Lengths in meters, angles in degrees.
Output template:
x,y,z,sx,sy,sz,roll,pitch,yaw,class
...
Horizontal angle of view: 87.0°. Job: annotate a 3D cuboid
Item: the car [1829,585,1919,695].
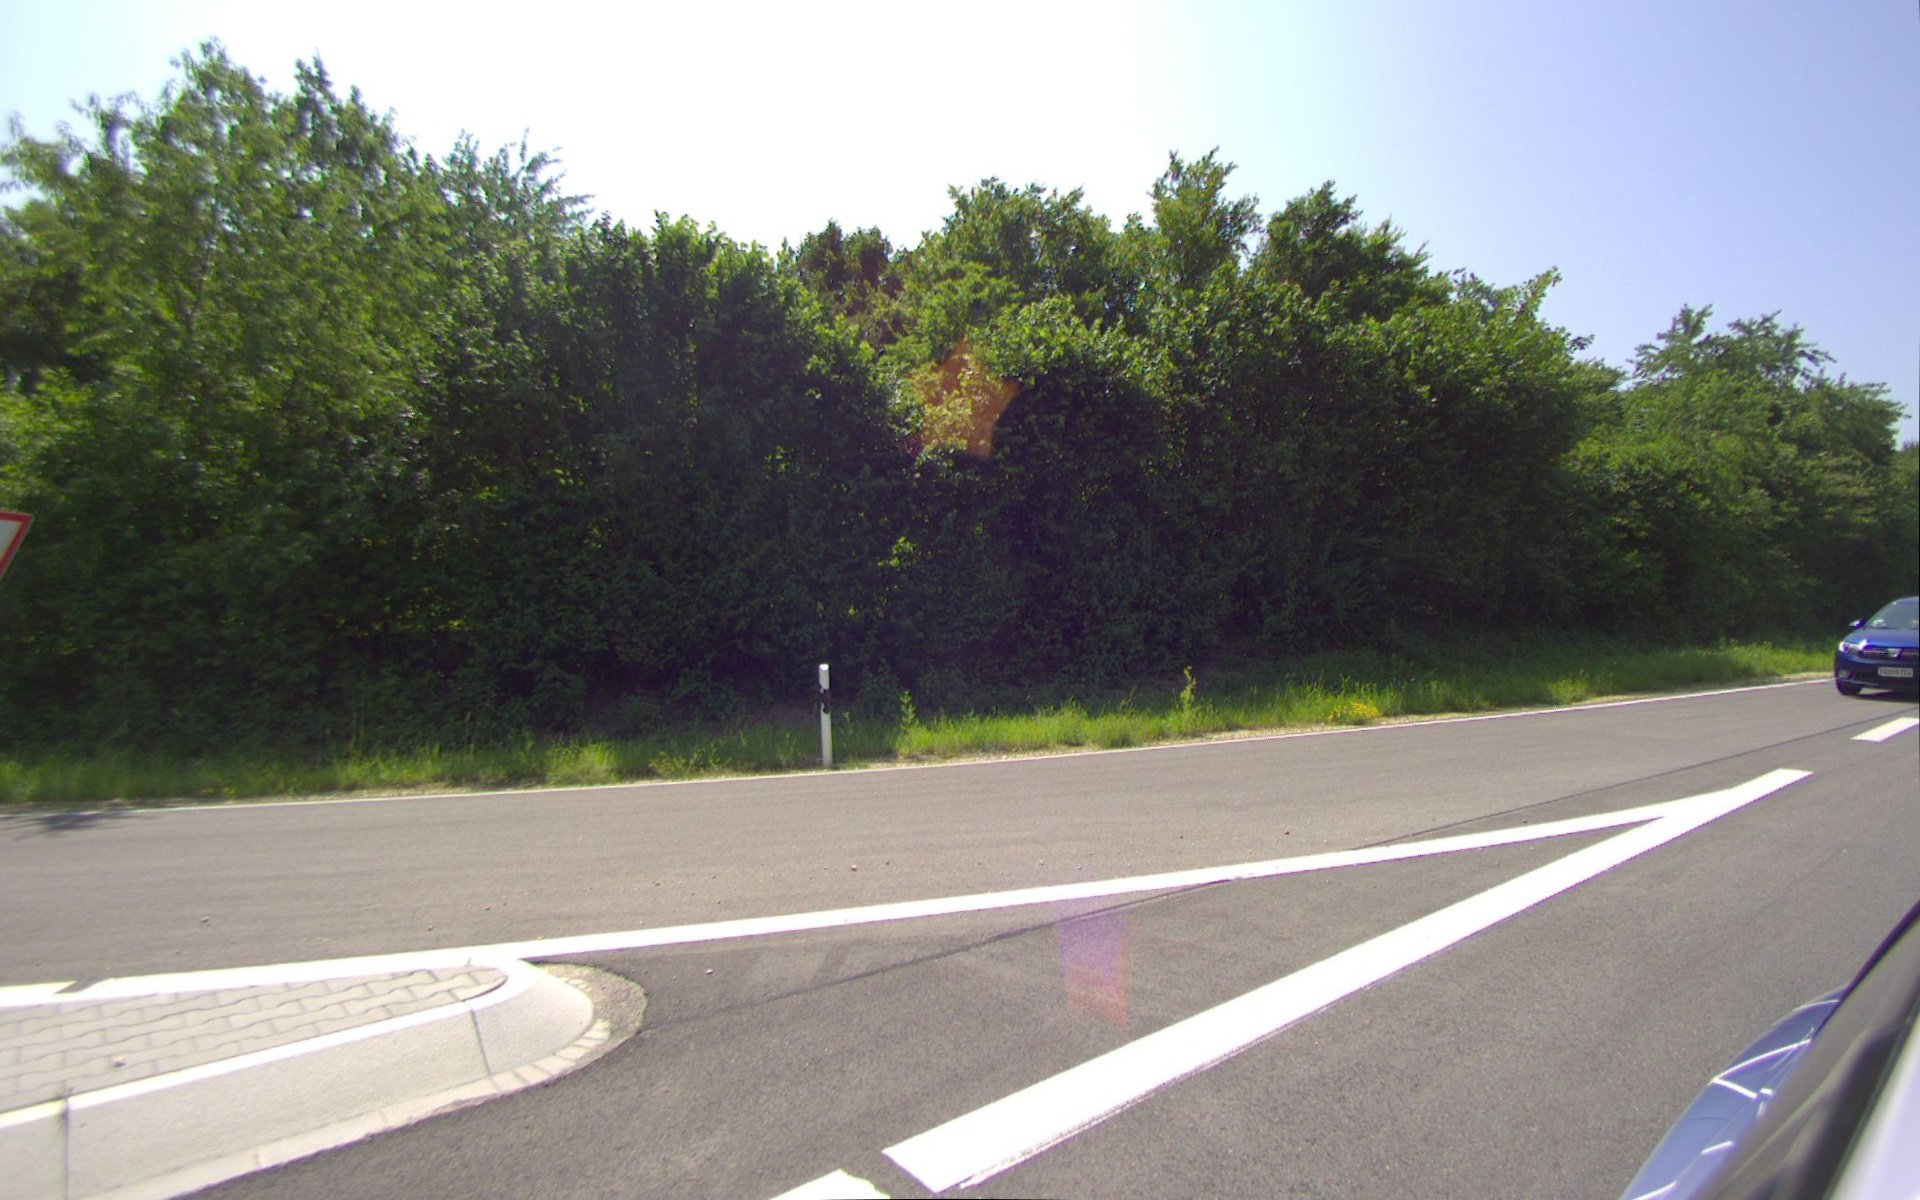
x,y,z,sx,sy,sz,roll,pitch,yaw,class
15.313,0.549,15.514,3.865,1.560,1.812,-1,1,-29,car
